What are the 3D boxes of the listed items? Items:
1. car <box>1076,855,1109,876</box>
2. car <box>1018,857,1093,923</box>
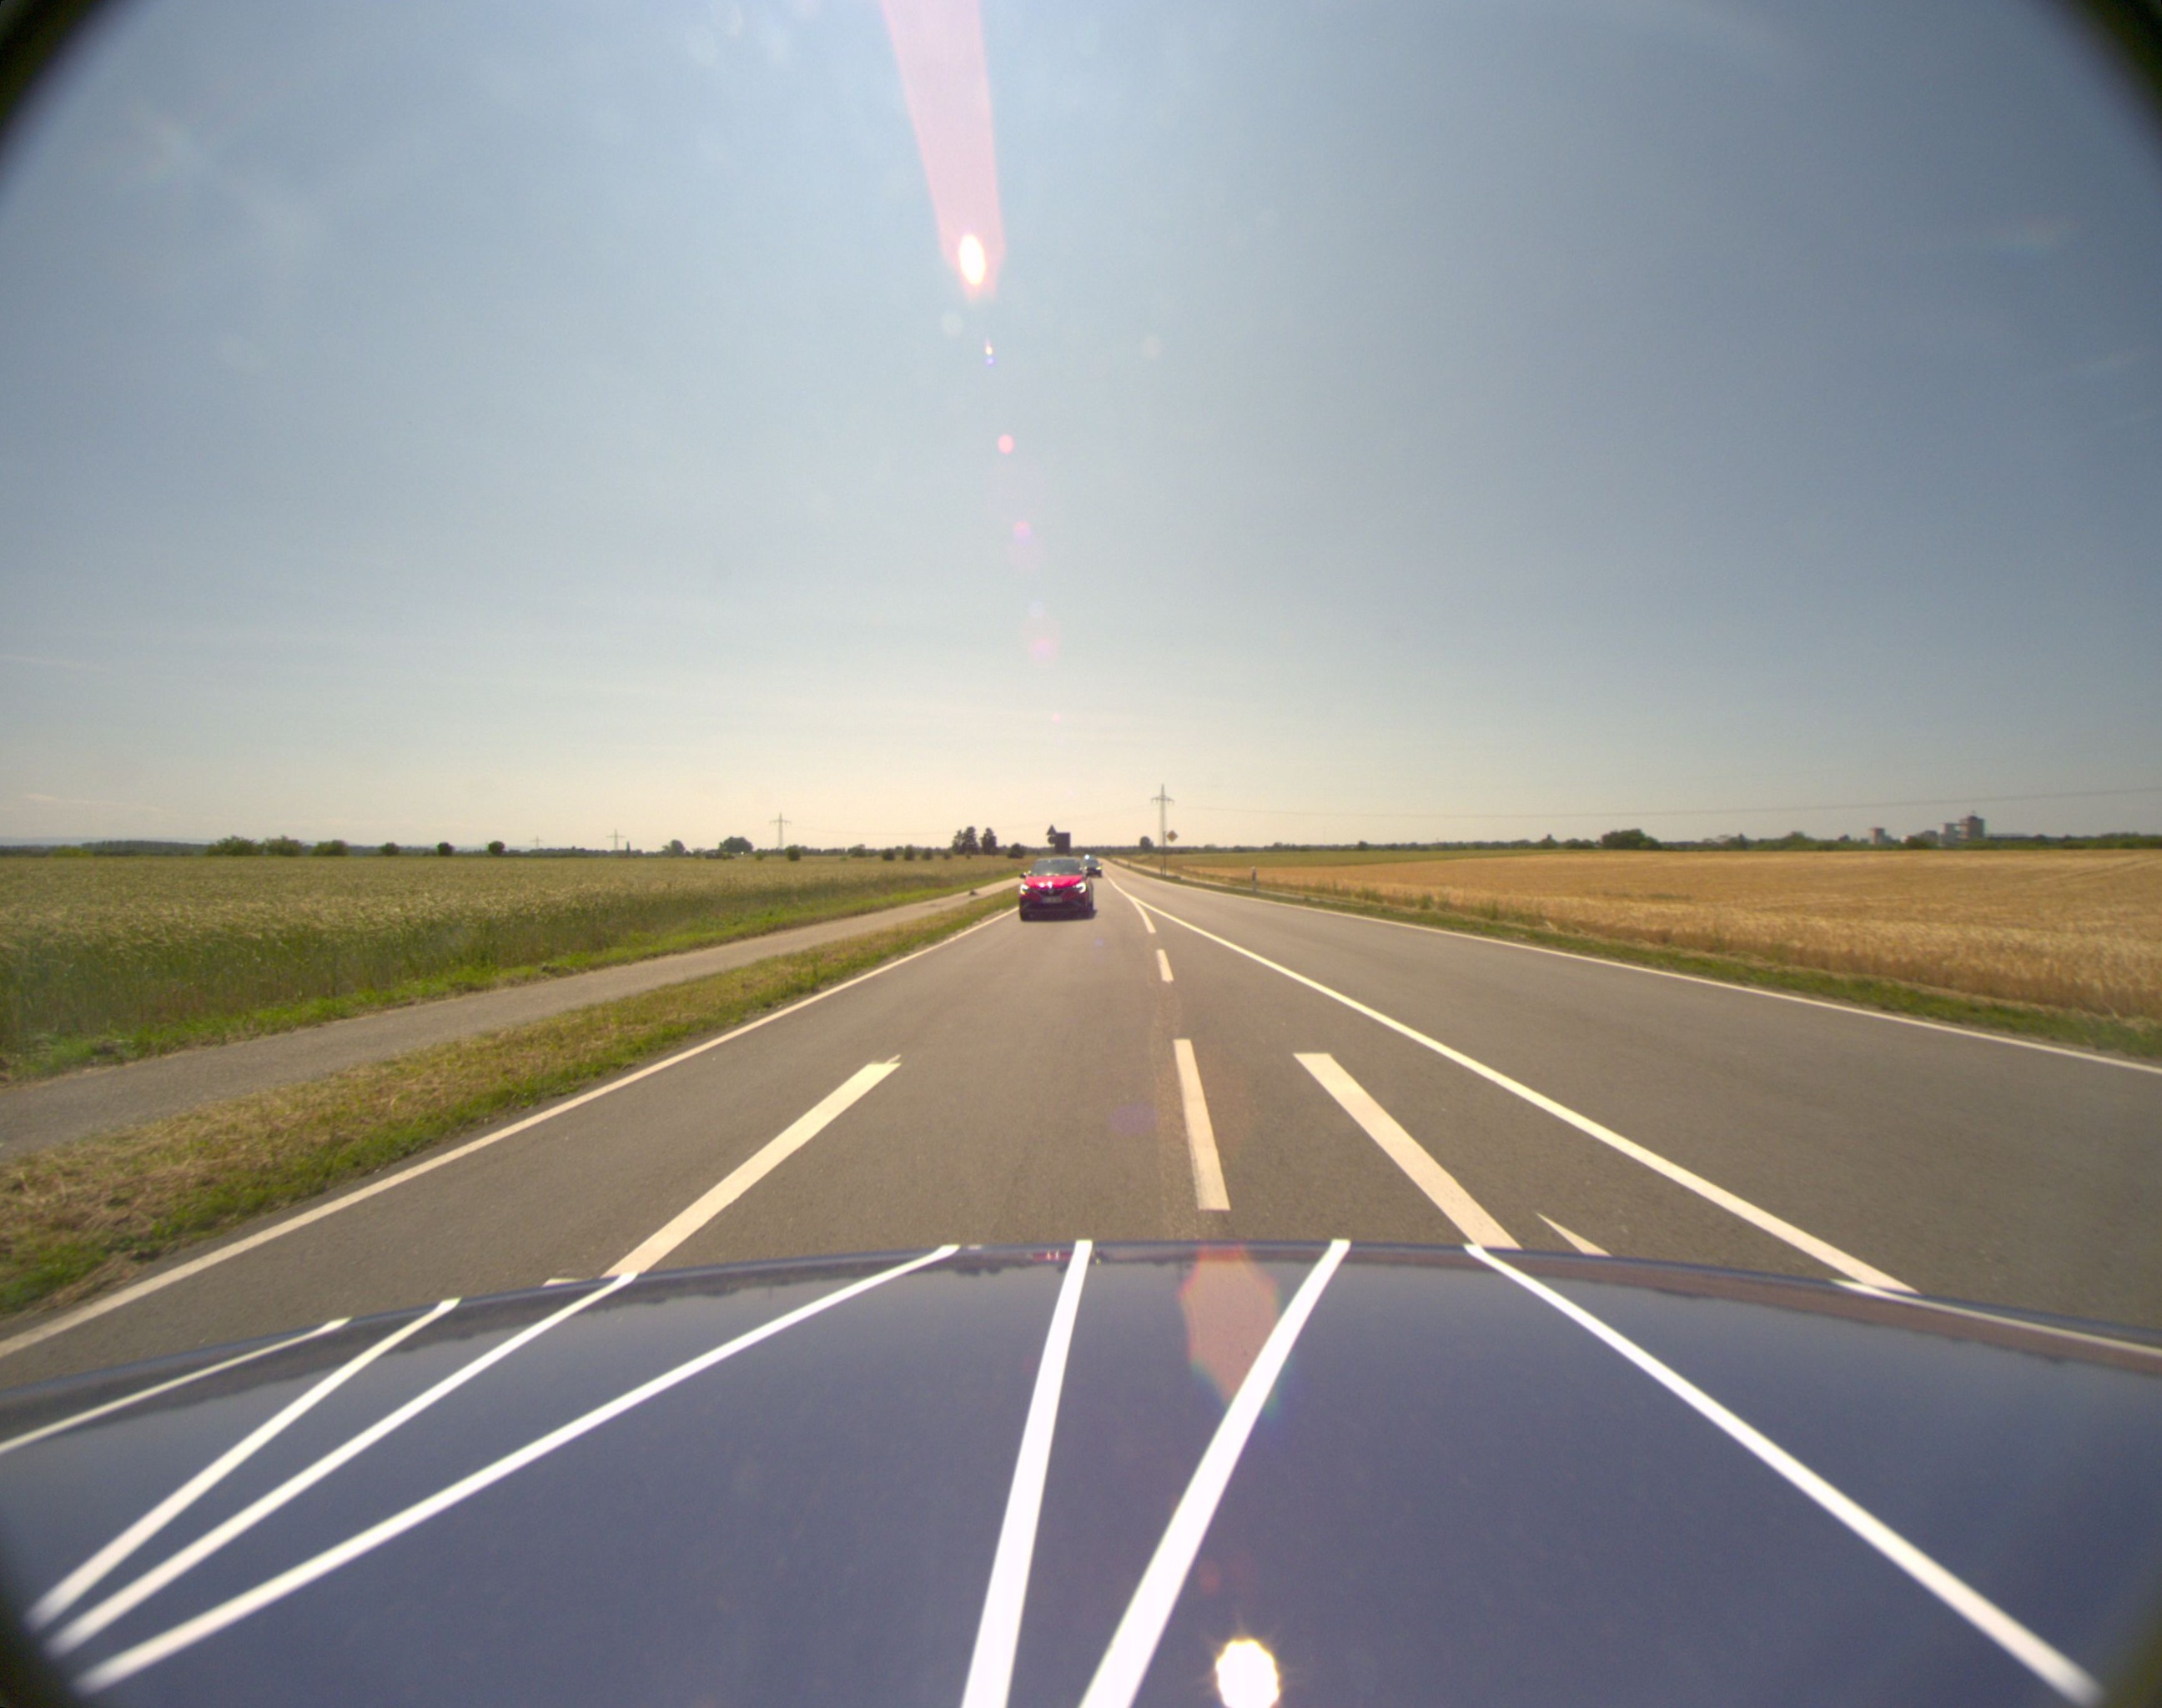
[{"bbox_3d":[0.905,0.815,57.245,2.189,1.458,5.015,-2,0,3],"label":"car"},{"bbox_3d":[-0.613,0.904,21.124,1.827,1.543,4.449,-2,0,1],"label":"car"}]
